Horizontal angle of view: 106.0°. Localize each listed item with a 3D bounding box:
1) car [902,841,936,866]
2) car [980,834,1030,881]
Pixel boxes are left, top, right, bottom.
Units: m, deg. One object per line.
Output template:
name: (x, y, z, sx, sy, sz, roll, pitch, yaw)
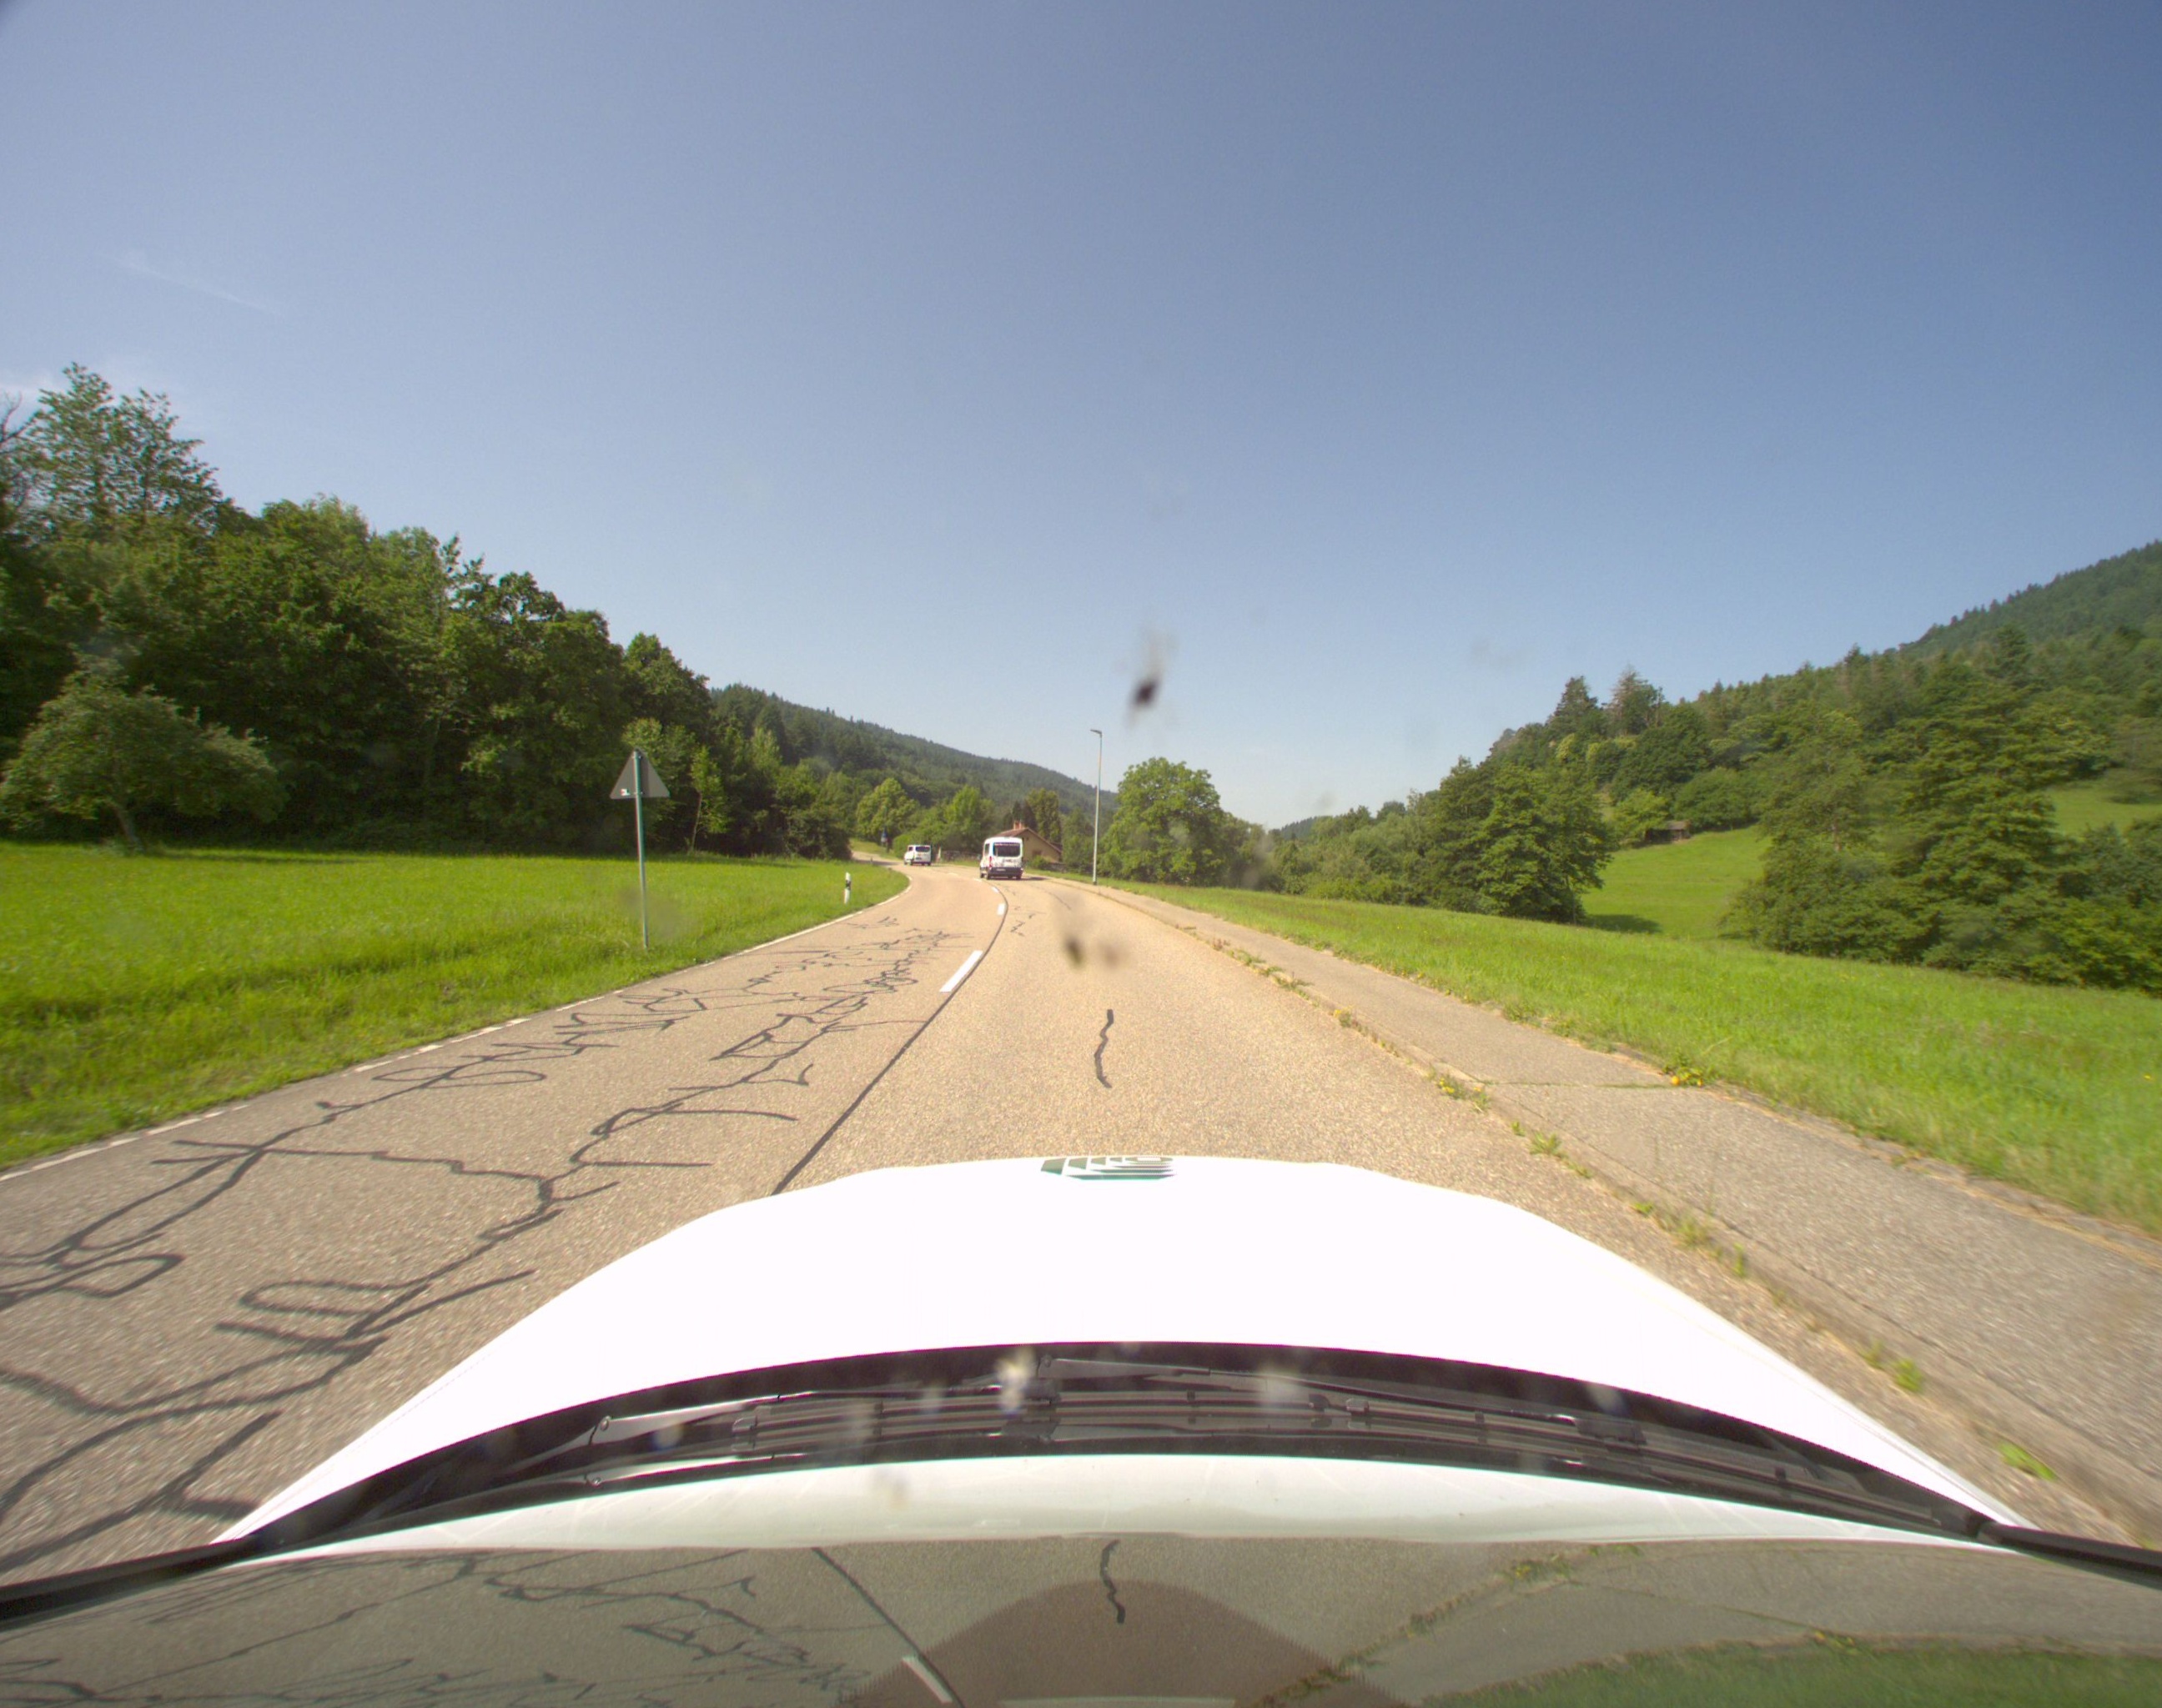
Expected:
car: (-15.860, -0.033, 79.561, 2.233, 2.286, 4.944, -2, 0, -24)
car: (-4.604, 0.210, 48.580, 2.225, 2.525, 4.962, -2, 0, -13)
